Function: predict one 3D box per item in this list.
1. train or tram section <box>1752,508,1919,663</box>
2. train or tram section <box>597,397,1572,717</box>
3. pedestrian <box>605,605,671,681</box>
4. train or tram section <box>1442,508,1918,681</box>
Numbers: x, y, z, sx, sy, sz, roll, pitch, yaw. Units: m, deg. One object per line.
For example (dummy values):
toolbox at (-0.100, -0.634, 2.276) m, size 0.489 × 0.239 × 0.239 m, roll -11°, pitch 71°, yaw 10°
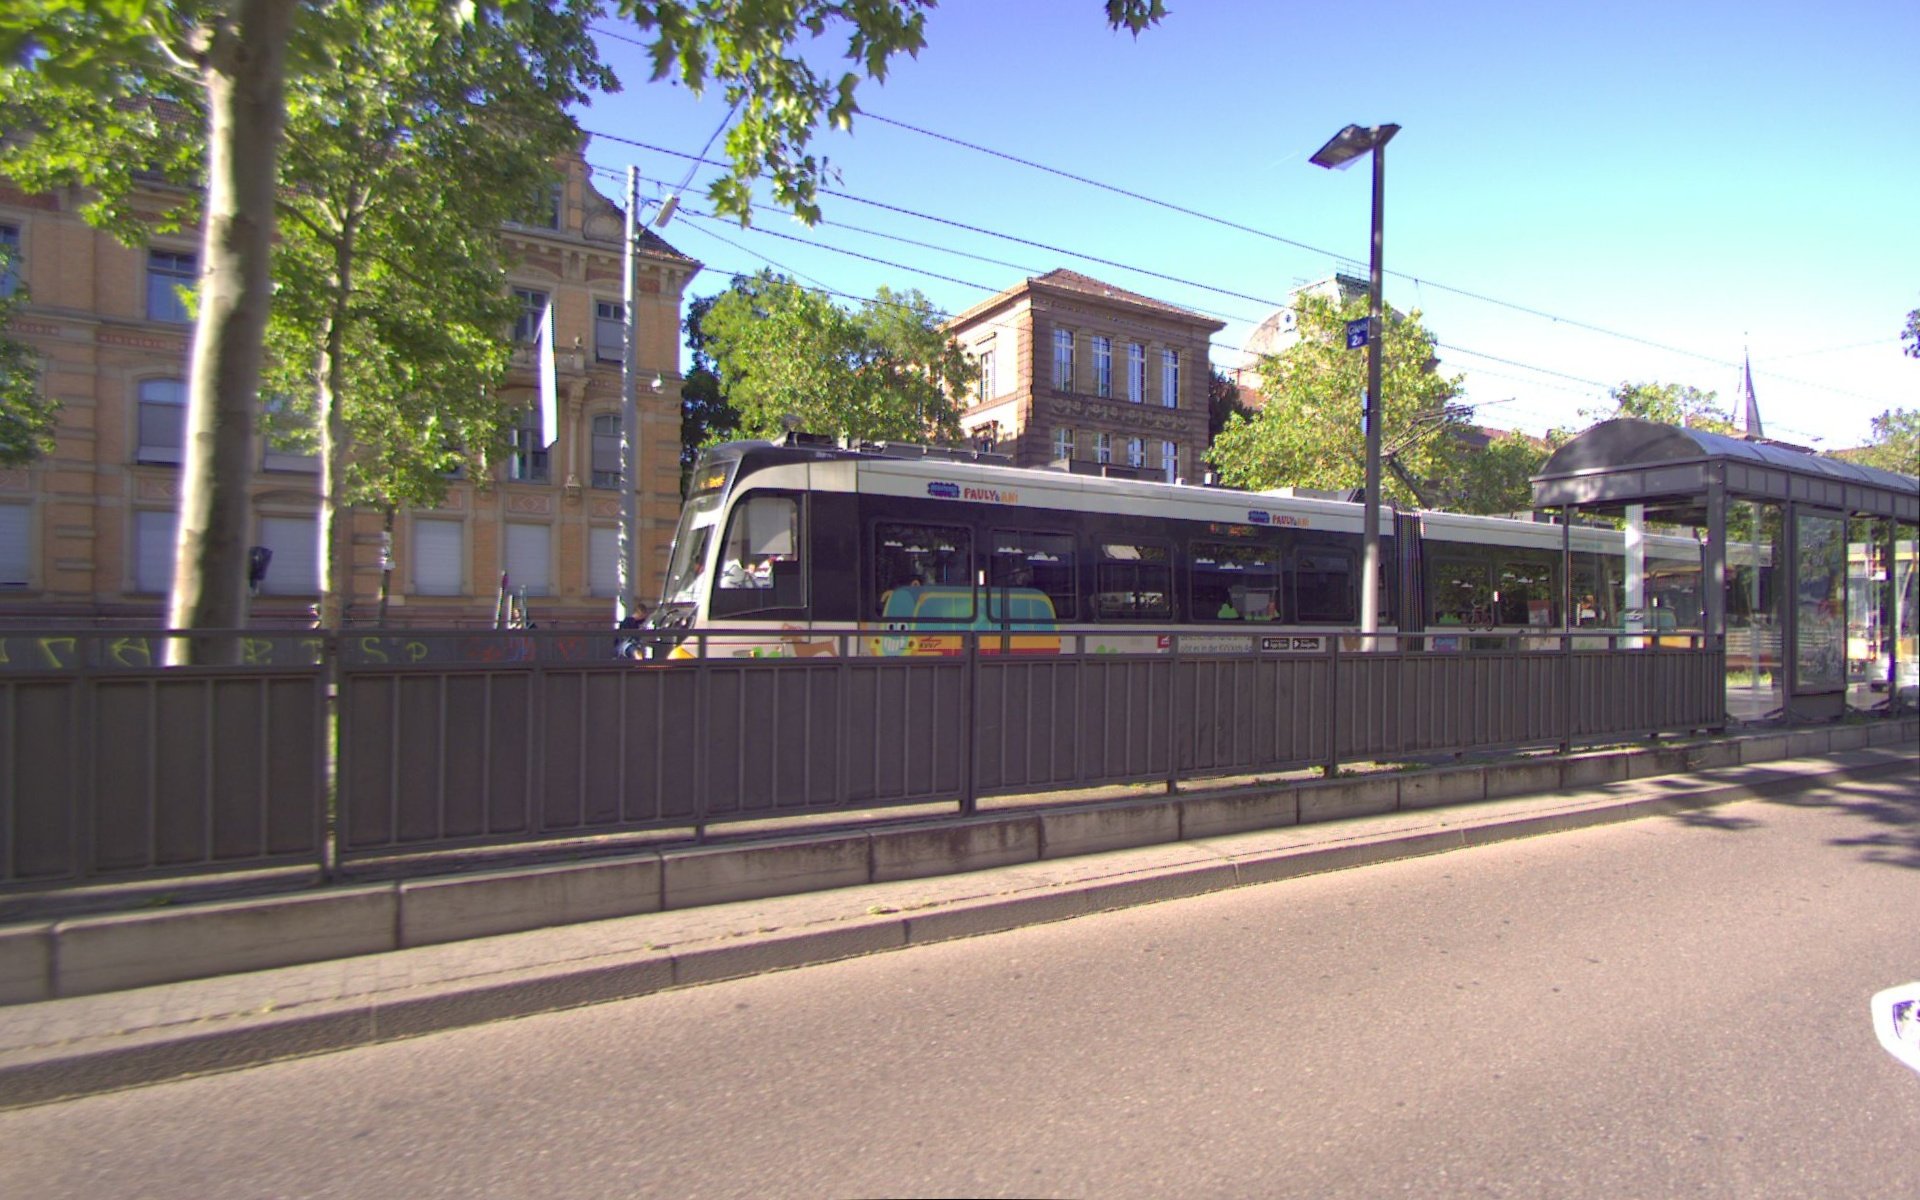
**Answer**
train or tram section at (26.418, -0.033, 26.687) m, size 15.710 × 3.303 × 2.900 m, roll 3°, pitch 0°, yaw -31°
train or tram section at (3.672, -0.300, 16.718) m, size 18.060 × 3.480 × 2.857 m, roll 1°, pitch 0°, yaw -30°
pedestrian at (-5.204, 0.676, 16.218) m, size 0.876 × 1.182 × 0.723 m, roll 1°, pitch -1°, yaw -30°
train or tram section at (19.336, 0.054, 25.880) m, size 17.999 × 3.480 × 2.835 m, roll 1°, pitch 0°, yaw -30°
